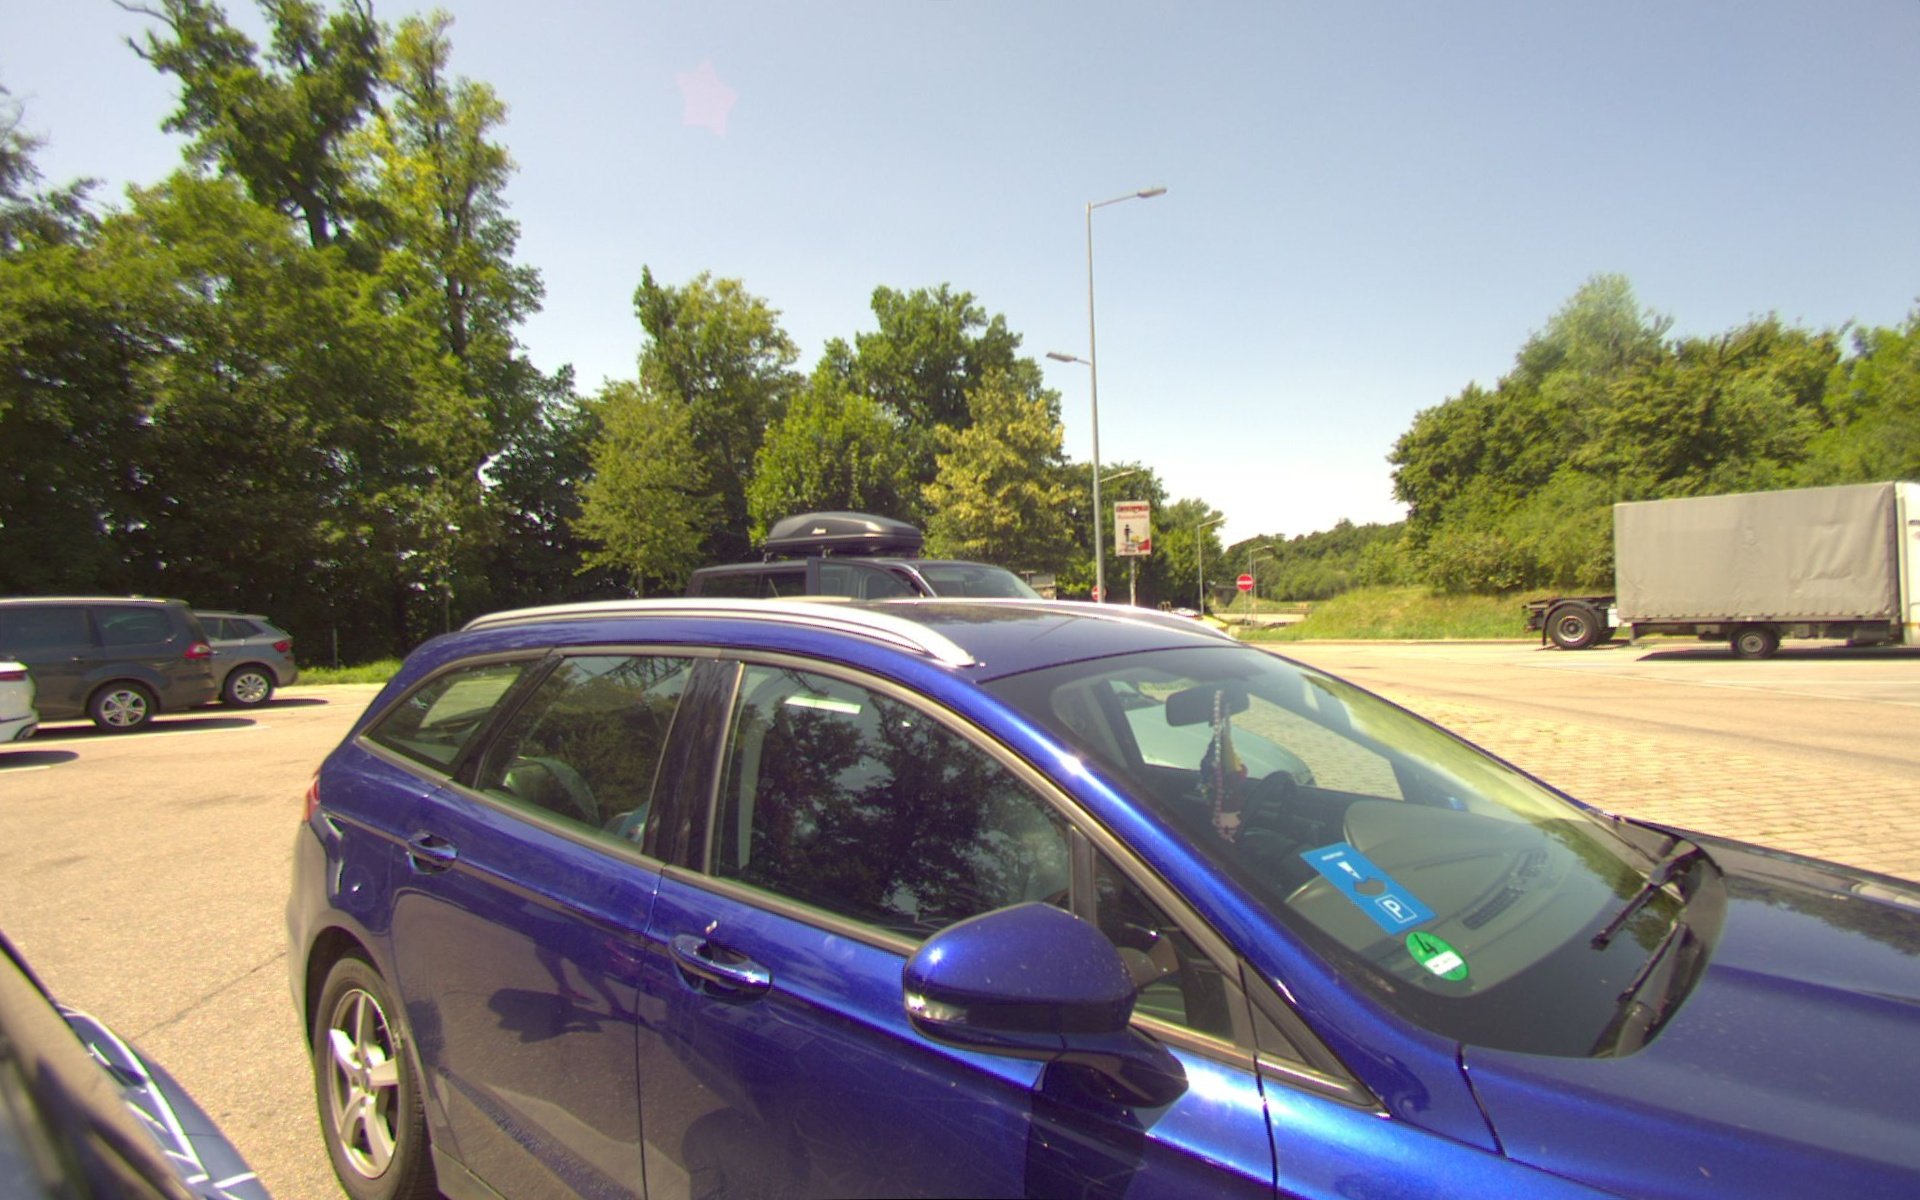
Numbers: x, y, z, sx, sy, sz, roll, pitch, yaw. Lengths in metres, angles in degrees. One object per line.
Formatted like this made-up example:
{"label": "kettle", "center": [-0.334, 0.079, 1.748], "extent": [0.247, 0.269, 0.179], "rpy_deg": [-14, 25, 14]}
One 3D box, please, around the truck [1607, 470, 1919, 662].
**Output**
{"label": "truck", "center": [16.709, -0.606, 18.934], "extent": [7.337, 3.235, 2.502], "rpy_deg": [-4, -1, 41]}

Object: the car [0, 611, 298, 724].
{"label": "car", "center": [-12.592, 0.955, 15.704], "extent": [3.762, 1.551, 1.724], "rpy_deg": [0, -1, -38]}

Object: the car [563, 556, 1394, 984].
{"label": "car", "center": [-0.213, 0.671, 5.786], "extent": [4.637, 1.545, 1.720], "rpy_deg": [-2, 0, 39]}

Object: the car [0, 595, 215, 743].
{"label": "car", "center": [-11.653, 0.822, 12.624], "extent": [3.762, 1.737, 1.724], "rpy_deg": [0, -1, -38]}

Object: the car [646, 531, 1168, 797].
{"label": "car", "center": [-0.657, 0.509, 9.360], "extent": [4.635, 1.884, 1.937], "rpy_deg": [-2, 0, 37]}

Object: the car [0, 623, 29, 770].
{"label": "car", "center": [-10.994, 0.933, 9.159], "extent": [3.767, 1.396, 1.722], "rpy_deg": [0, -1, -43]}

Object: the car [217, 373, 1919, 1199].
{"label": "car", "center": [0.249, 0.634, 2.075], "extent": [4.637, 1.493, 1.720], "rpy_deg": [-2, -1, 39]}

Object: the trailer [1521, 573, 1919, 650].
{"label": "trailer", "center": [17.637, 0.305, 23.156], "extent": [8.088, 1.385, 2.200], "rpy_deg": [-4, -1, 41]}
